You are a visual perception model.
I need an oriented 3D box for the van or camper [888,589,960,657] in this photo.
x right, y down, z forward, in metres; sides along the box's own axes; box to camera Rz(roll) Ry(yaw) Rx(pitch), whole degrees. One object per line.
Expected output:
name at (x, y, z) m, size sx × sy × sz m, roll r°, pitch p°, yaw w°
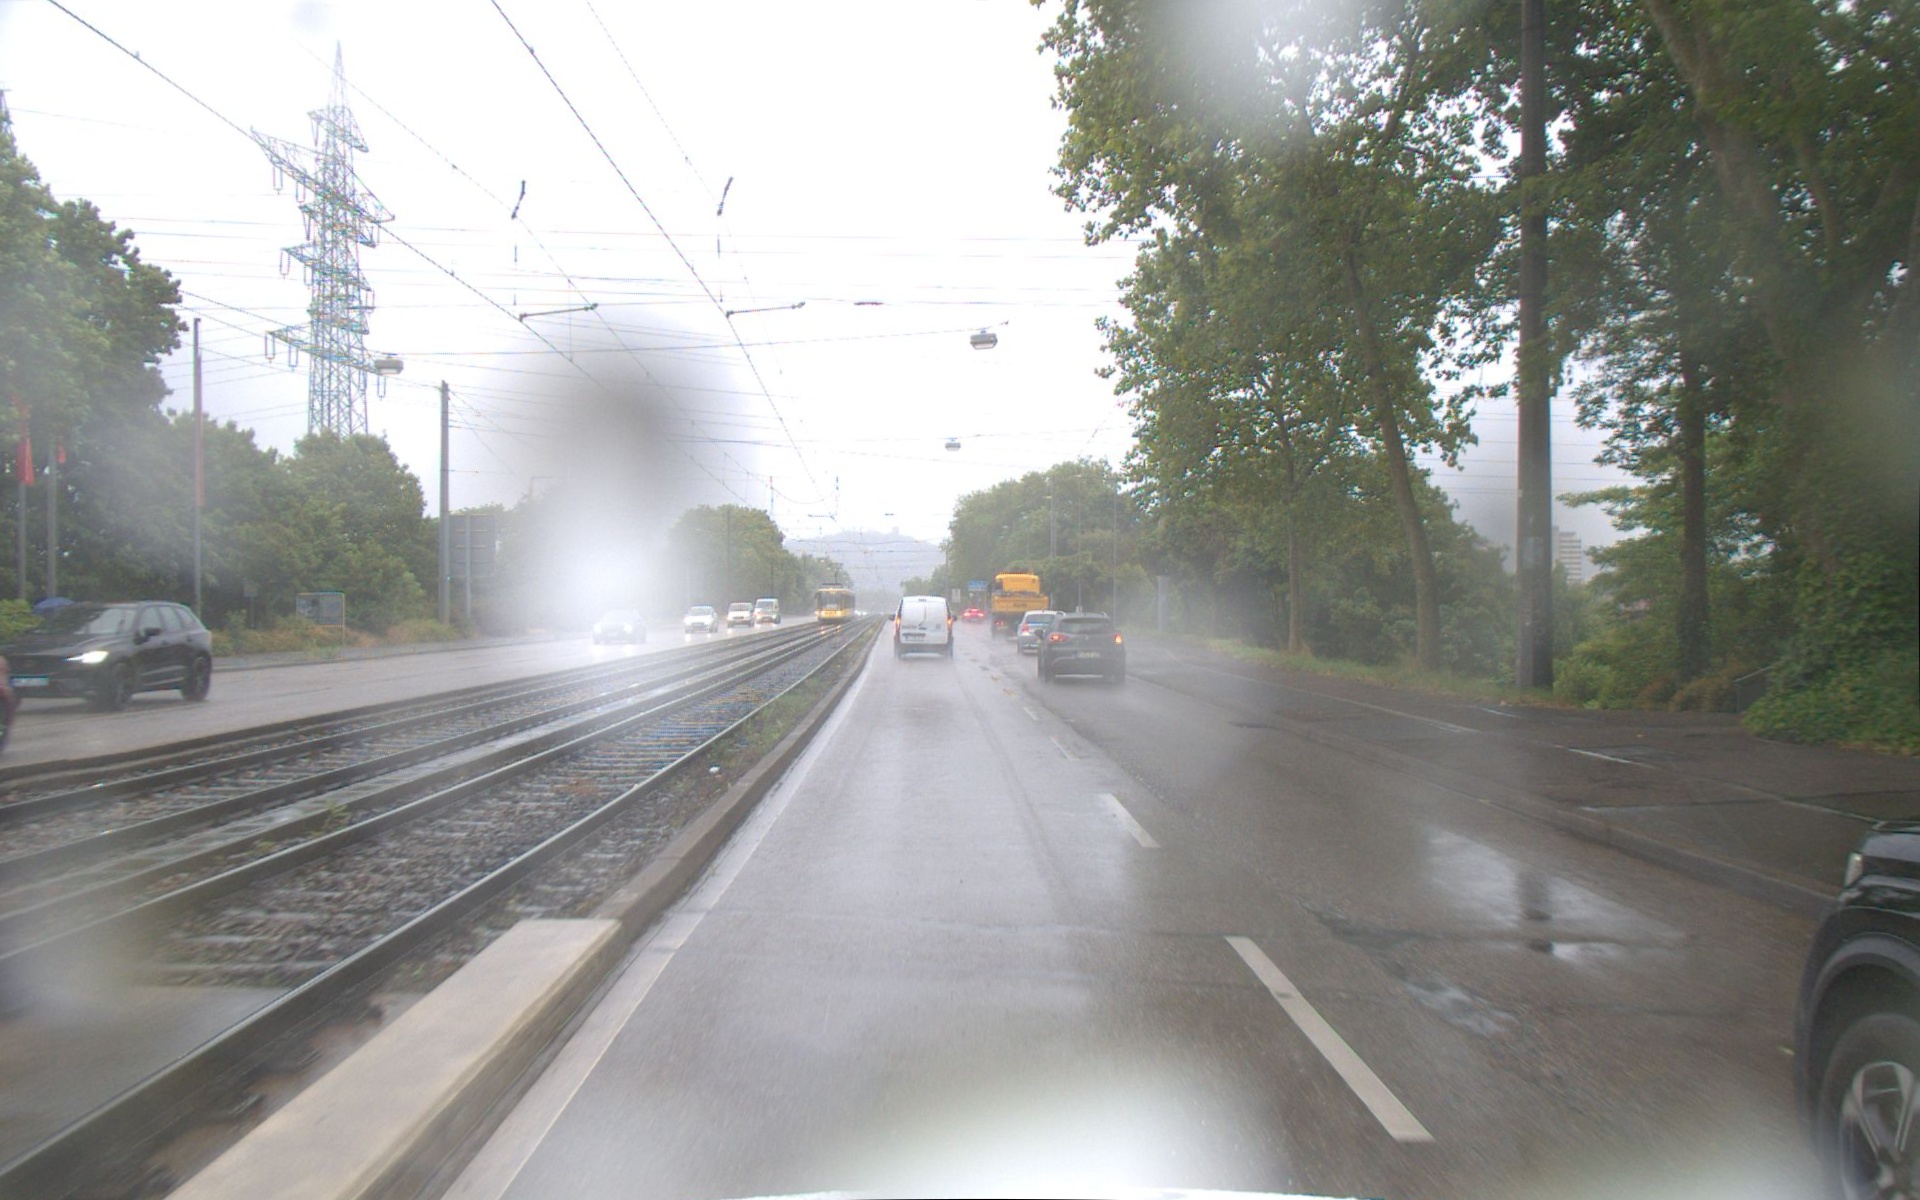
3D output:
van or camper at (-1.105, 0.630, 48.836) m, size 1.954 × 1.815 × 3.998 m, roll 1°, pitch 1°, yaw -3°

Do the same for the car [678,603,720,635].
car at (-16.450, 1.173, 104.549) m, size 1.952 × 1.937 × 4.000 m, roll 1°, pitch 0°, yaw 1°

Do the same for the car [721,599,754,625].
car at (-17.253, 0.900, 128.208) m, size 1.952 × 1.937 × 4.000 m, roll 1°, pitch 0°, yaw 1°

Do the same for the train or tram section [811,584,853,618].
train or tram section at (-11.745, 0.032, 152.598) m, size 2.792 × 2.944 × 14.005 m, roll -1°, pitch 0°, yaw 0°

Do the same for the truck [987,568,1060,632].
truck at (2.906, -0.013, 77.239) m, size 3.049 × 2.821 × 6.328 m, roll 0°, pitch 0°, yaw -1°

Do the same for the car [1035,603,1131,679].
car at (2.581, 0.836, 35.461) m, size 1.781 × 1.438 × 3.778 m, roll 1°, pitch 1°, yaw 0°

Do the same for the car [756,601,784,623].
car at (-17.136, 1.076, 149.117) m, size 1.952 × 1.937 × 4.000 m, roll 1°, pitch 0°, yaw 1°

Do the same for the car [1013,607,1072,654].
car at (2.735, 0.992, 55.351) m, size 1.781 × 1.438 × 3.778 m, roll 1°, pitch 1°, yaw 0°

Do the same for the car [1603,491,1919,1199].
car at (2.893, 0.680, 2.522) m, size 1.861 × 1.746 × 4.724 m, roll 1°, pitch 1°, yaw -2°

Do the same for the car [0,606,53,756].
car at (-10.581, 0.832, 15.765) m, size 1.623 × 1.512 × 4.013 m, roll 0°, pitch 0°, yaw 1°

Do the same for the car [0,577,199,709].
car at (-13.494, 0.604, 25.158) m, size 1.952 × 1.847 × 4.000 m, roll 0°, pitch 0°, yaw 1°

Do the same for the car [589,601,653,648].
car at (-14.933, 1.049, 73.059) m, size 1.952 × 1.937 × 4.000 m, roll 1°, pitch 0°, yaw 1°

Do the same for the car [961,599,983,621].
car at (1.102, 0.895, 149.562) m, size 1.952 × 1.937 × 4.000 m, roll 1°, pitch 0°, yaw 0°
